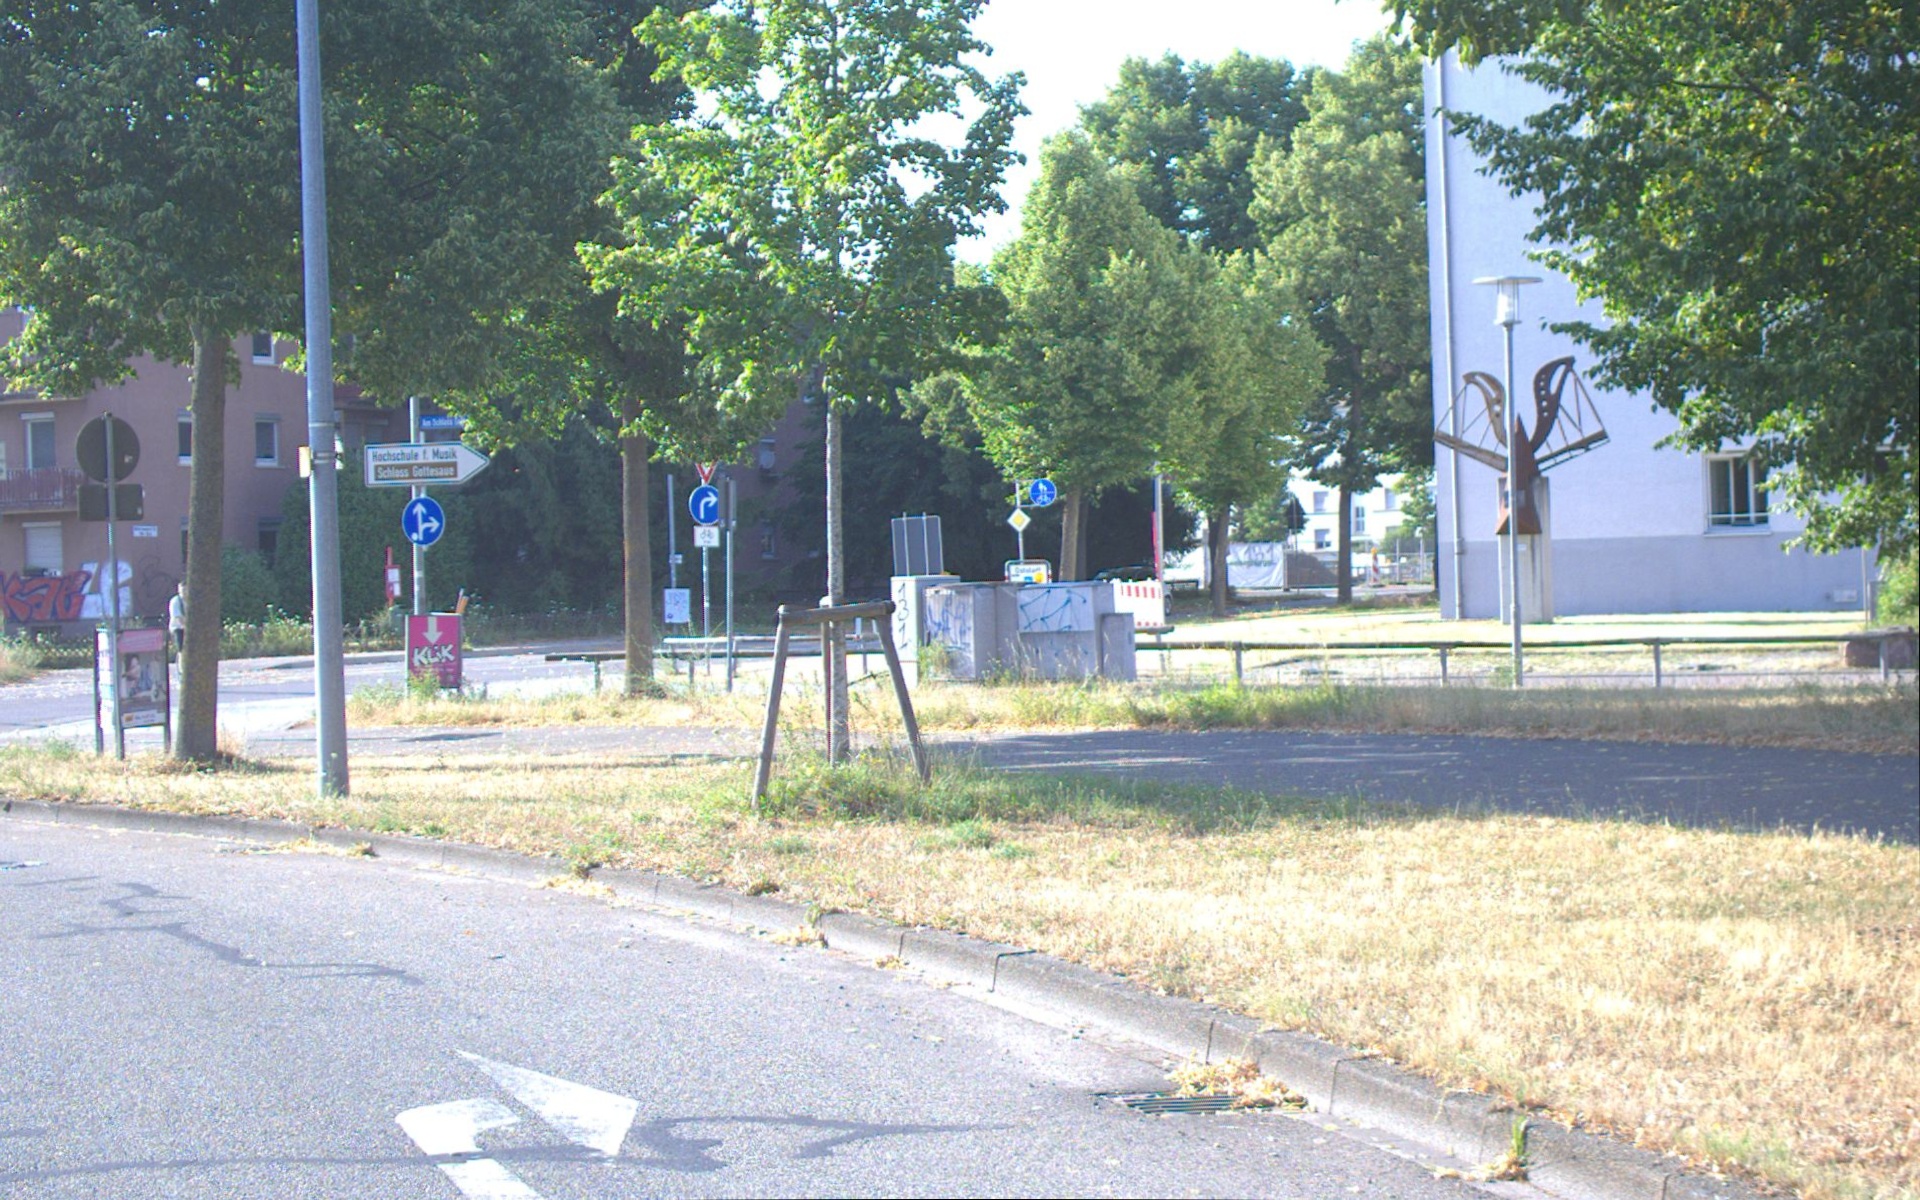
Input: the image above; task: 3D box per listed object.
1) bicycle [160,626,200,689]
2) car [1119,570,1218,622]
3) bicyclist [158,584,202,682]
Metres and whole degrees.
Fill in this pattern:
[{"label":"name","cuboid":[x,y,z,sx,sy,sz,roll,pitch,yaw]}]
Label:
[{"label":"bicycle","cuboid":[-12.525,0.920,55.217,0.596,0.960,2.106,-1,0,-12]},{"label":"car","cuboid":[6.135,-0.130,101.040,1.585,1.437,3.547,-1,0,27]},{"label":"bicyclist","cuboid":[-12.563,0.528,55.357,0.657,1.557,0.894,-1,0,-13]}]
